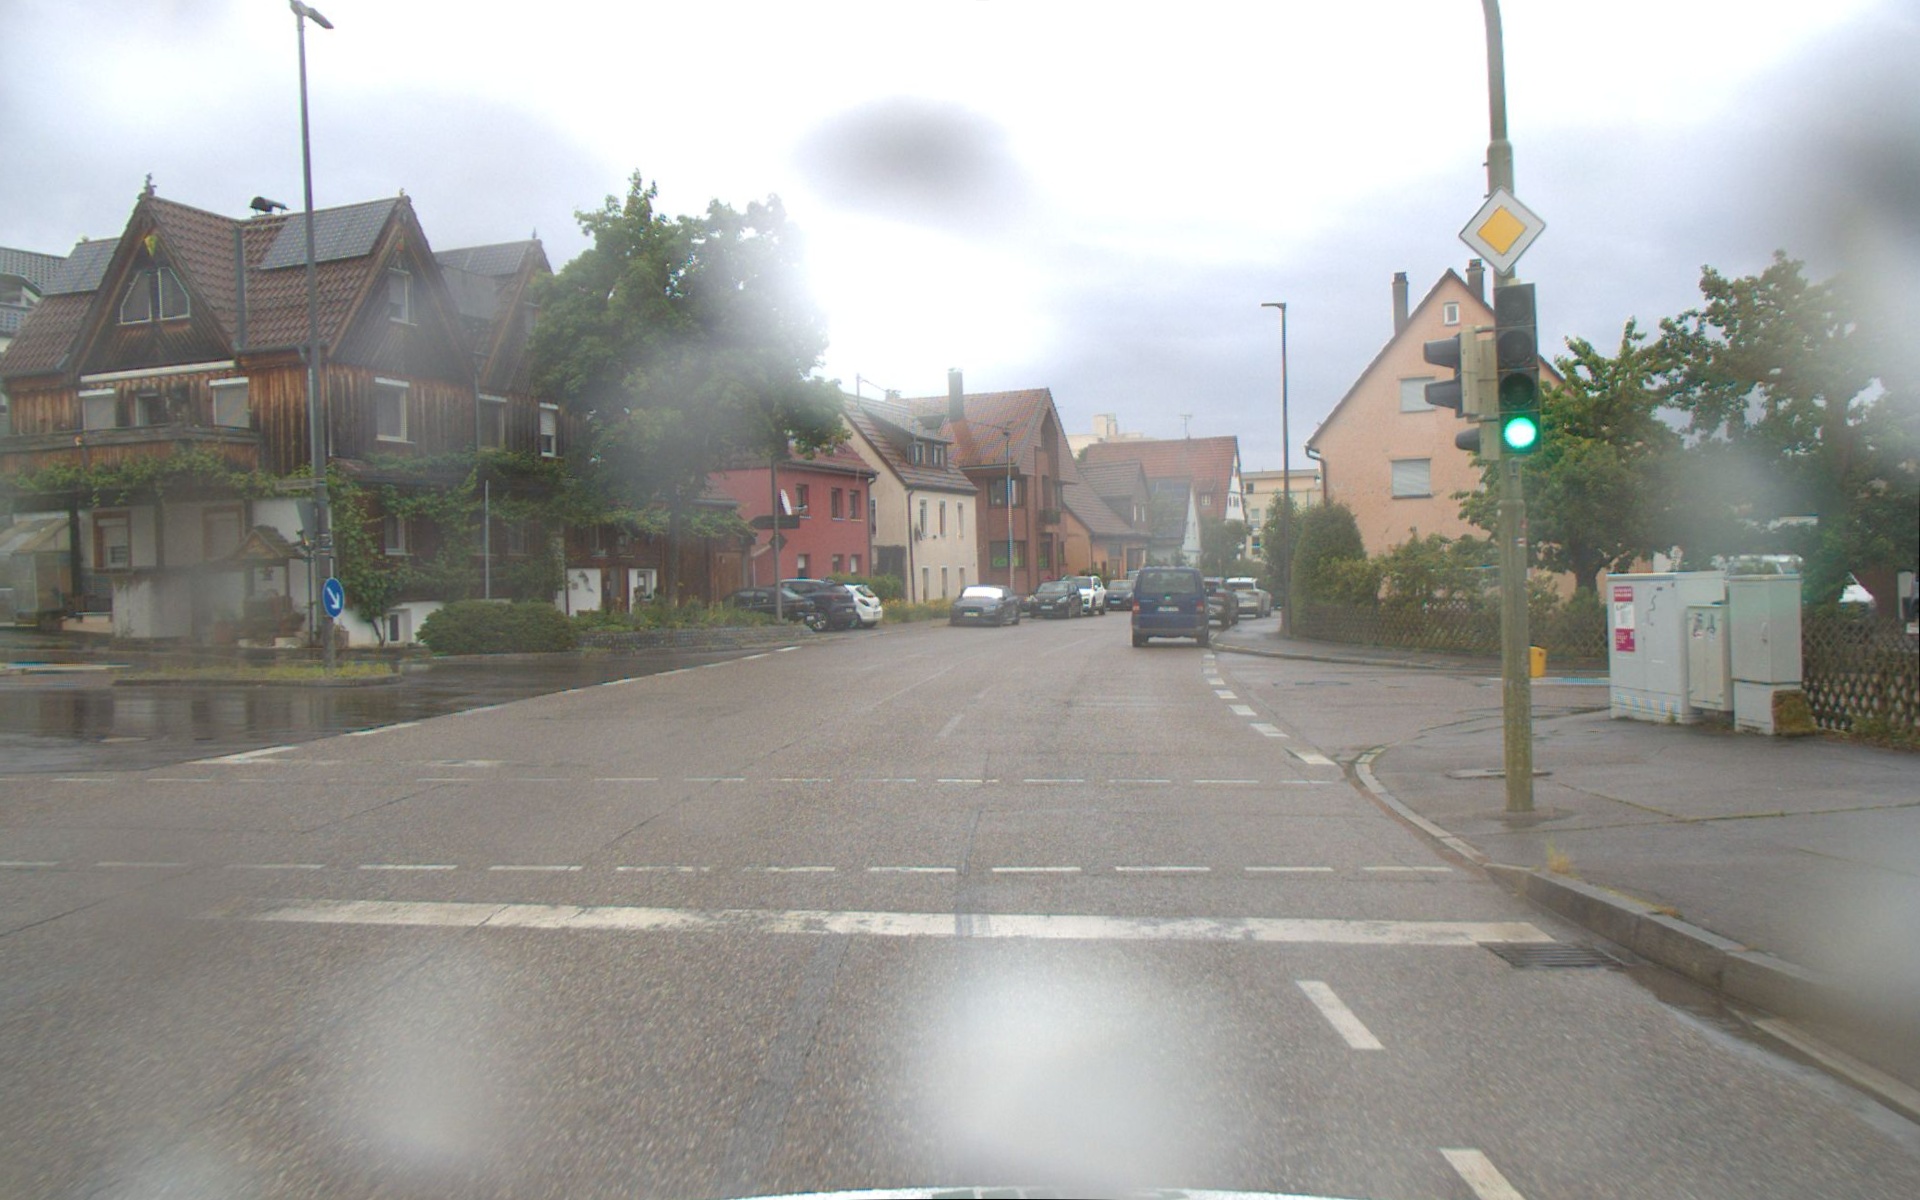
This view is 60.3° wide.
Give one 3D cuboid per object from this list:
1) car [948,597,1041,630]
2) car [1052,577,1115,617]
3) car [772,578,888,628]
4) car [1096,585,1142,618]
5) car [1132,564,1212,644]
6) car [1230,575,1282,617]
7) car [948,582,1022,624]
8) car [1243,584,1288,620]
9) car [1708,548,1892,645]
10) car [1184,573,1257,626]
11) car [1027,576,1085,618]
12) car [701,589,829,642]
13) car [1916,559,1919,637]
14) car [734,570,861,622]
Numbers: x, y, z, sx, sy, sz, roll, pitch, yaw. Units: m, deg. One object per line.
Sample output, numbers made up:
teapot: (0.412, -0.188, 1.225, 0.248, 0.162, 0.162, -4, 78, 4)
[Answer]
car: (1.650, 0.634, 79.744, 4.088, 1.427, 1.788, -2, 0, 24)
car: (5.422, -0.139, 72.204, 1.727, 1.647, 4.659, -2, 0, 17)
car: (-4.223, 0.091, 53.983, 3.388, 1.505, 1.591, -2, 0, 19)
car: (7.809, 0.069, 81.160, 1.545, 1.523, 3.569, -2, 0, 17)
car: (5.370, 0.069, 42.334, 1.890, 1.935, 4.797, 0, 1, 6)
car: (11.960, -0.167, 66.687, 1.764, 1.623, 4.615, 0, 0, 14)
car: (0.905, 0.069, 57.647, 1.592, 1.379, 4.114, 1, 1, 15)
car: (15.526, 0.091, 83.851, 1.712, 1.739, 4.002, -2, 0, 18)
car: (19.547, -0.136, 38.766, 1.905, 2.120, 5.188, 0, 1, 3)
car: (9.053, -0.043, 57.208, 1.868, 1.747, 4.559, 1, 1, 17)
car: (3.956, -0.131, 67.723, 1.571, 1.646, 3.278, -2, 0, 17)
car: (-5.778, 0.457, 49.163, 3.374, 1.443, 1.633, -2, 0, 19)
car: (23.299, -0.034, 37.324, 1.620, 1.850, 3.643, 0, 1, 5)
car: (-5.059, -0.155, 51.607, 3.502, 1.532, 1.856, 1, 1, 20)
